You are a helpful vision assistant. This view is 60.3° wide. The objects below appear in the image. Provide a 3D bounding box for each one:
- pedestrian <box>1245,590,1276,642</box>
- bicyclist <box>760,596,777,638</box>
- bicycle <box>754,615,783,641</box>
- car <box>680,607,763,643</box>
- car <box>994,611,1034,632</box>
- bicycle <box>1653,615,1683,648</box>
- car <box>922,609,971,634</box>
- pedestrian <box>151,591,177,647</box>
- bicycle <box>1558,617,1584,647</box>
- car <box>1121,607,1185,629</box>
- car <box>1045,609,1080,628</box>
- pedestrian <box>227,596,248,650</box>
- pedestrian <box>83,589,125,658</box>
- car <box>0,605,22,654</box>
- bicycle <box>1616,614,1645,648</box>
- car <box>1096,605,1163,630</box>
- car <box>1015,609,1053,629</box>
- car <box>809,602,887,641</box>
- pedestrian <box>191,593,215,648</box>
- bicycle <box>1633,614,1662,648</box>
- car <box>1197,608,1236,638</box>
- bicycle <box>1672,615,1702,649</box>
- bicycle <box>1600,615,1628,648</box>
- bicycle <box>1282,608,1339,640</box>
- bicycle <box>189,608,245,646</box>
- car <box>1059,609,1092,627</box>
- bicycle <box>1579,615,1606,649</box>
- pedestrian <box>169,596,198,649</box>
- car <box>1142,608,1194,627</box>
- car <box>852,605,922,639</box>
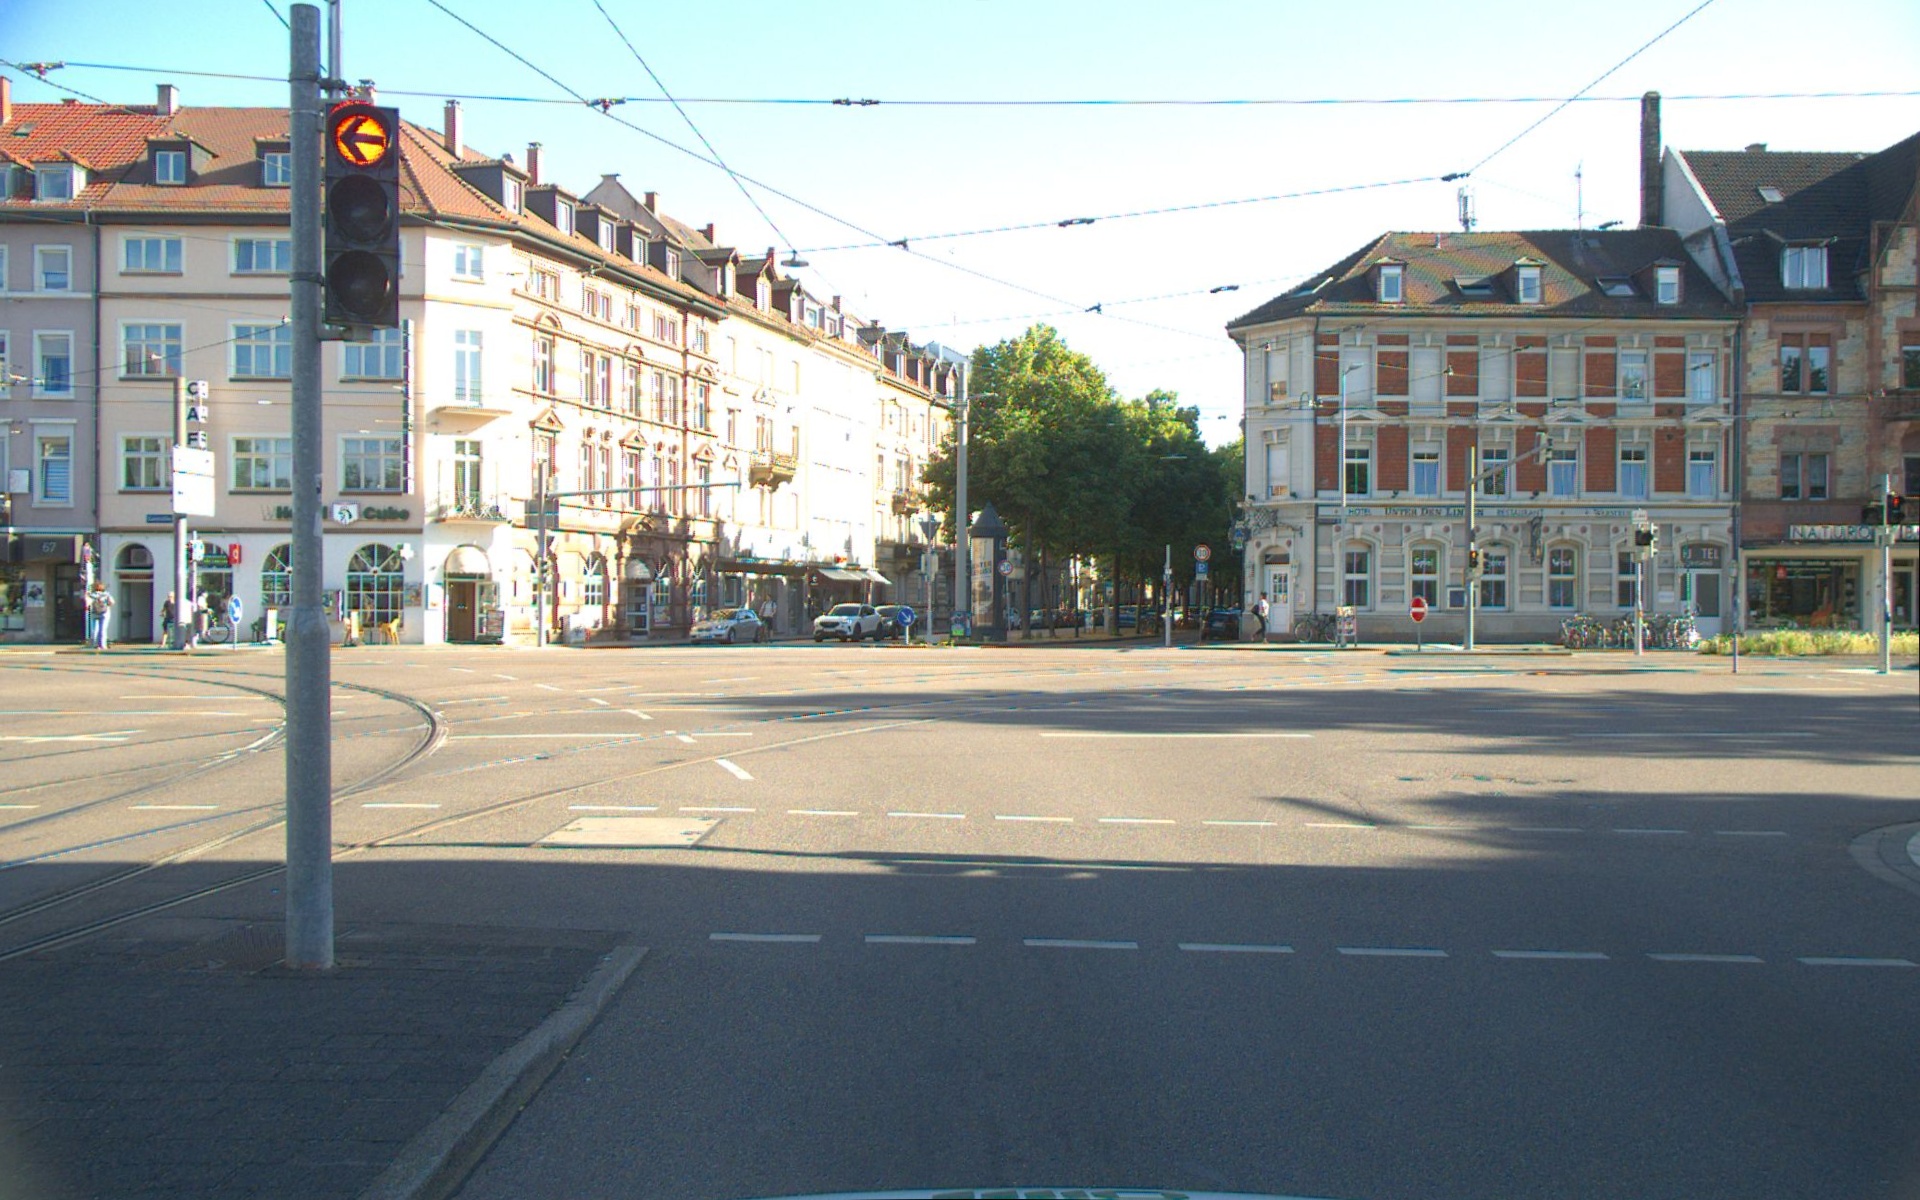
[{"bbox_3d":[10.324,0.549,56.797,1.013,1.741,0.630,1,-1,10],"label":"pedestrian"},{"bbox_3d":[-7.541,0.656,65.059,0.479,1.629,0.667,0,0,9],"label":"bicyclist"},{"bbox_3d":[-7.550,1.101,65.159,0.641,1.018,1.666,1,0,11],"label":"bicycle"},{"bbox_3d":[-9.593,0.988,66.873,1.951,1.385,3.821,0,0,15],"label":"car"},{"bbox_3d":[3.825,1.485,116.885,1.951,1.429,4.172,0,0,15],"label":"car"},{"bbox_3d":[22.835,1.008,53.332,0.476,1.038,1.785,0,0,9],"label":"bicycle"},{"bbox_3d":[-0.810,1.319,102.048,1.951,1.429,4.172,0,0,15],"label":"car"},{"bbox_3d":[-24.947,0.588,51.827,0.731,1.711,0.623,0,0,-26],"label":"pedestrian"},{"bbox_3d":[19.810,1.035,53.643,0.476,0.930,1.785,0,0,9],"label":"bicycle"},{"bbox_3d":[12.325,1.141,105.553,3.902,1.311,1.696,0,0,10],"label":"car"},{"bbox_3d":[8.152,1.434,131.499,1.951,1.429,4.172,0,0,15],"label":"car"},{"bbox_3d":[-17.219,0.547,39.420,0.358,1.275,0.449,0,0,-12],"label":"pedestrian"},{"bbox_3d":[-21.387,0.575,41.331,0.725,1.711,0.628,0,0,-1],"label":"pedestrian"},{"bbox_3d":[-32.041,0.909,52.311,3.651,1.517,1.818,1,0,2],"label":"car"},{"bbox_3d":[21.671,0.988,53.485,0.476,1.038,1.785,0,0,9],"label":"bicycle"},{"bbox_3d":[10.258,1.039,99.815,3.902,1.480,1.683,0,0,10],"label":"car"},{"bbox_3d":[5.484,1.379,122.631,1.951,1.429,4.172,0,0,15],"label":"car"},{"bbox_3d":[-4.524,0.849,67.379,1.951,1.542,4.172,0,0,15],"label":"car"},{"bbox_3d":[-23.721,0.639,51.809,0.620,1.711,0.735,0,0,-30],"label":"pedestrian"},{"bbox_3d":[22.198,0.997,53.435,0.476,1.038,1.785,0,0,9],"label":"bicycle"},{"bbox_3d":[12.860,1.142,82.696,1.717,1.445,4.003,0,0,12],"label":"car"},{"bbox_3d":[23.480,1.019,53.421,0.476,1.038,1.785,0,0,9],"label":"bicycle"},{"bbox_3d":[21.138,1.001,53.479,0.476,1.038,1.785,0,0,9],"label":"bicycle"},{"bbox_3d":[12.182,0.829,57.504,1.911,1.072,0.716,0,0,9],"label":"bicycle"},{"bbox_3d":[-25.381,0.921,56.522,1.684,1.299,0.385,0,0,-18],"label":"bicycle"},{"bbox_3d":[9.581,1.481,136.717,1.951,1.429,4.172,0,0,15],"label":"car"},{"bbox_3d":[20.479,1.022,53.566,0.476,1.038,1.785,0,0,9],"label":"bicycle"},{"bbox_3d":[-25.312,0.714,53.914,0.727,1.711,0.626,0,0,-12],"label":"pedestrian"},{"bbox_3d":[14.054,1.151,111.652,3.360,1.261,1.578,0,0,10],"label":"car"},{"bbox_3d":[-3.219,0.955,73.571,1.951,1.429,4.172,0,0,15],"label":"car"}]
